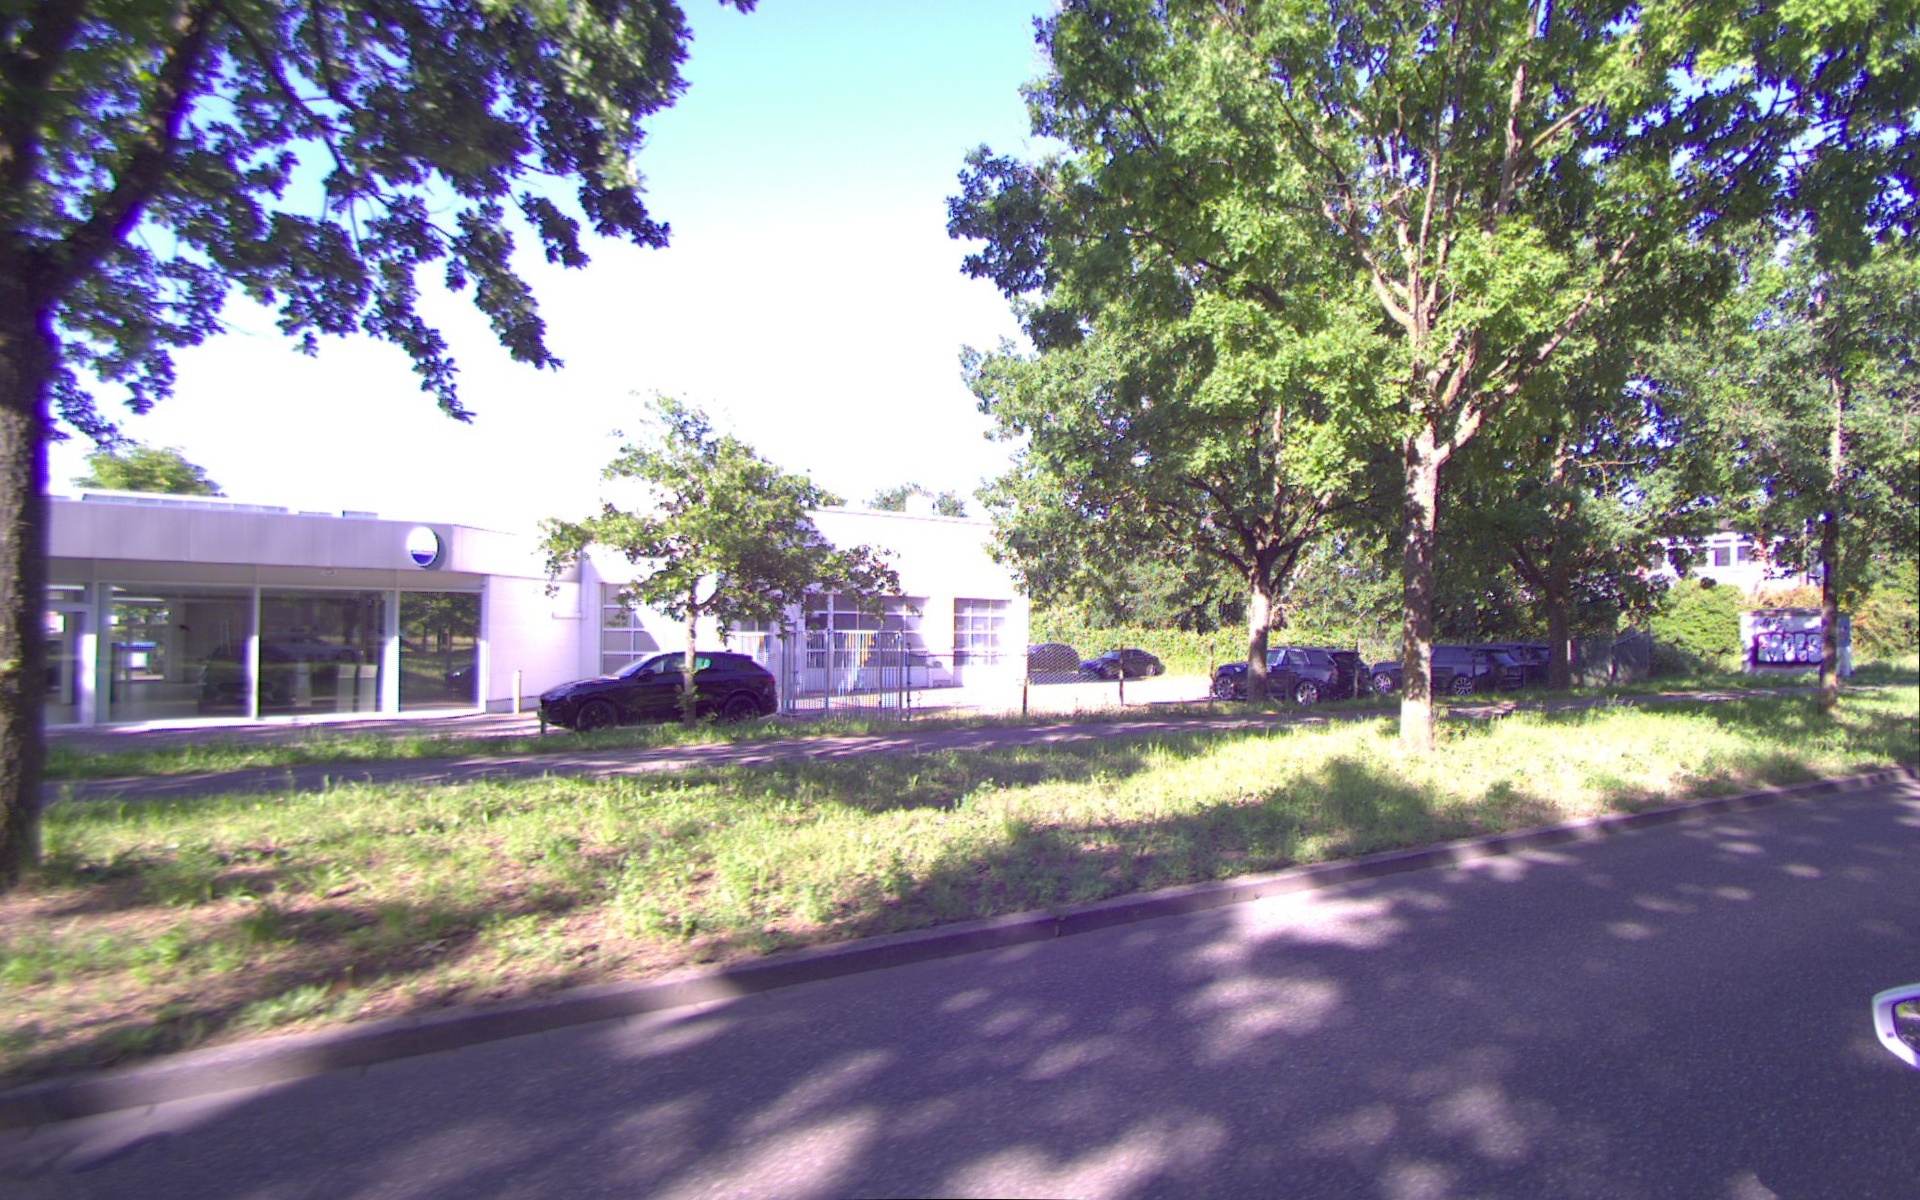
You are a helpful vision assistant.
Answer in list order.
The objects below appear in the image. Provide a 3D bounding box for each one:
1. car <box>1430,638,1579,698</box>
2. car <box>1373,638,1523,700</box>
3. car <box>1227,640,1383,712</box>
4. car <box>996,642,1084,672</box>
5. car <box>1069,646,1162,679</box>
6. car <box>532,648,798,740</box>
[{"bbox_3d":[19.118,2.337,35.430,1.979,1.825,4.164,2,0,-34],"label":"car"},{"bbox_3d":[16.552,2.287,34.244,1.979,1.825,4.164,2,0,-34],"label":"car"},{"bbox_3d":[10.182,2.185,29.895,1.981,1.825,3.959,2,0,-36],"label":"car"},{"bbox_3d":[4.659,3.302,58.204,4.827,1.587,1.984,2,0,-30],"label":"car"},{"bbox_3d":[8.222,3.253,52.794,4.838,1.587,1.980,2,0,-36],"label":"car"},{"bbox_3d":[-6.059,1.845,20.808,4.956,1.619,1.984,2,0,-31],"label":"car"}]
